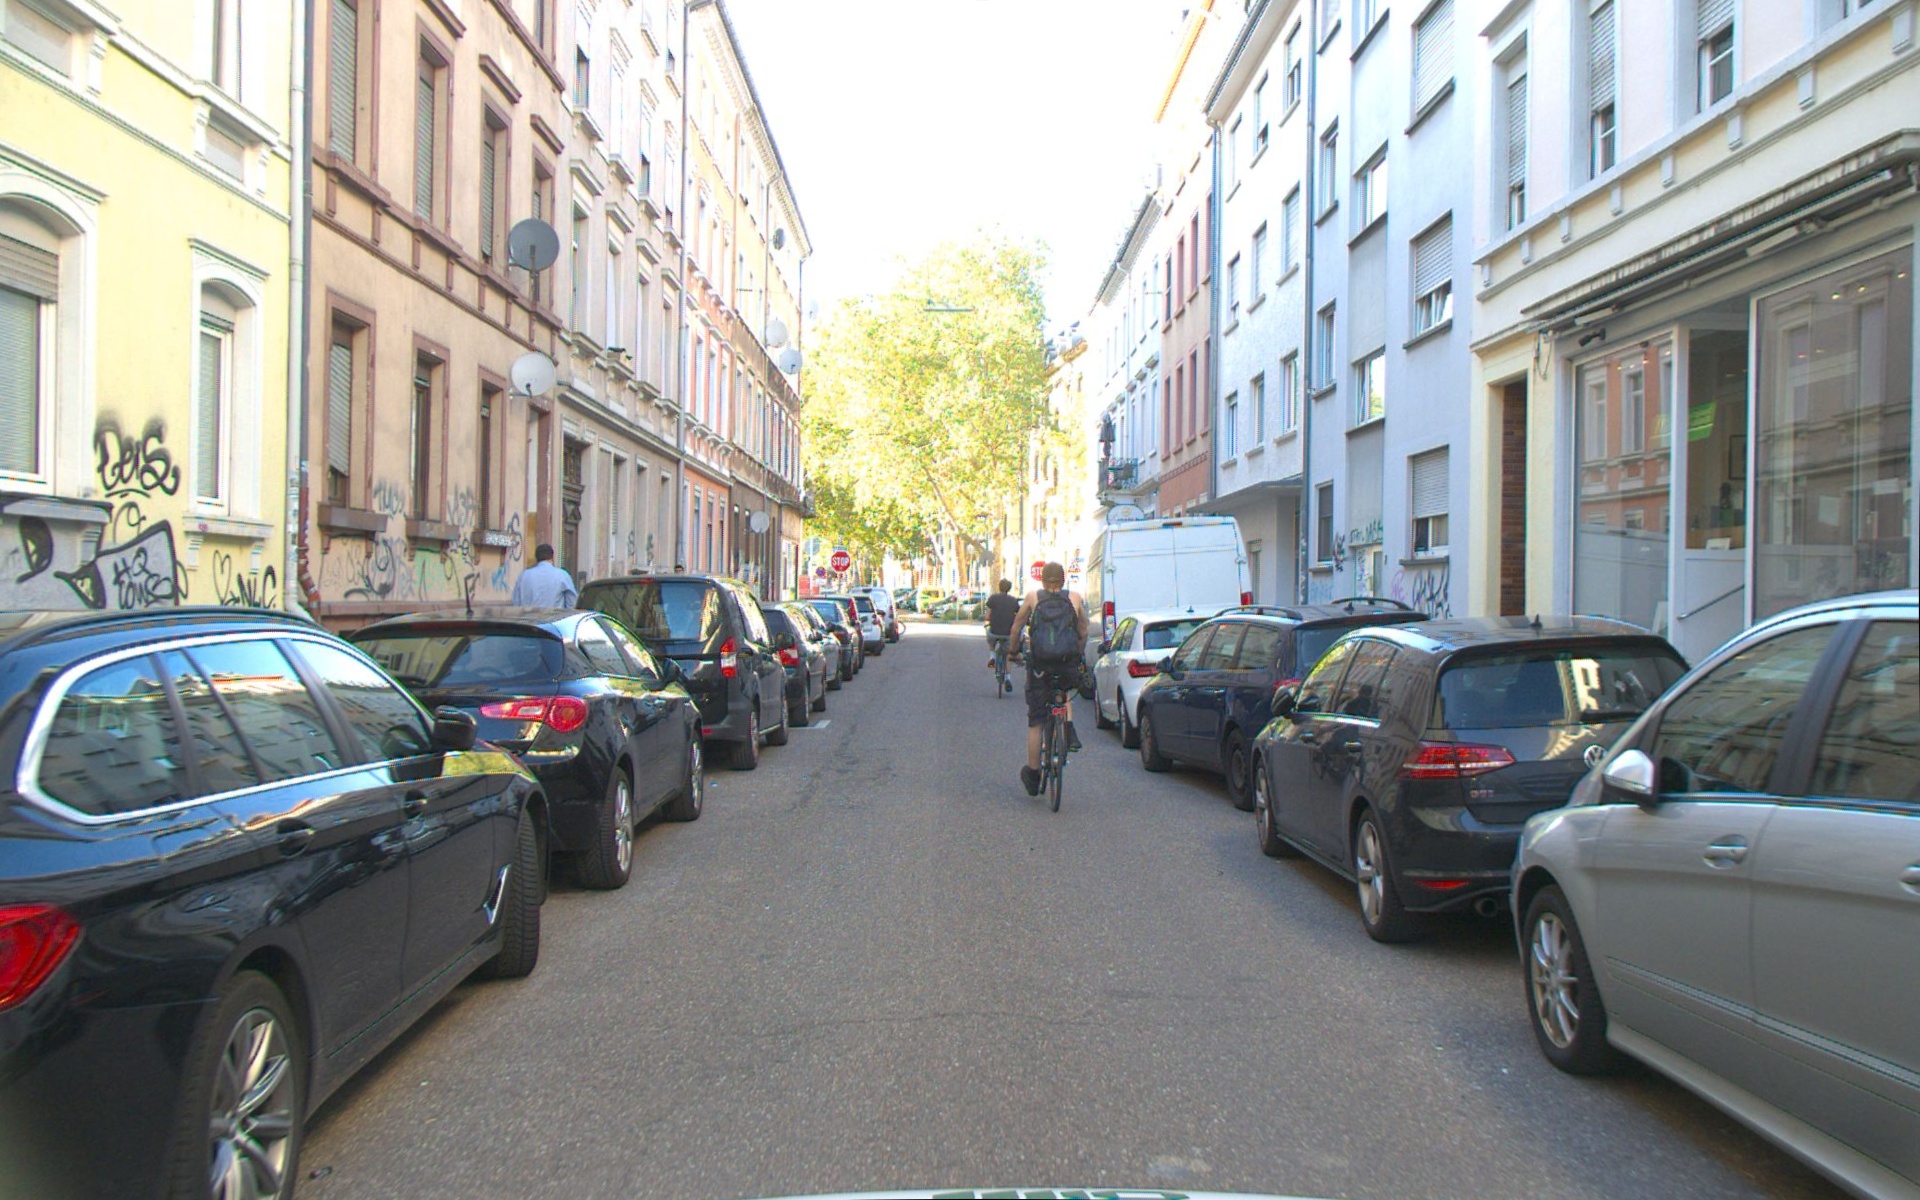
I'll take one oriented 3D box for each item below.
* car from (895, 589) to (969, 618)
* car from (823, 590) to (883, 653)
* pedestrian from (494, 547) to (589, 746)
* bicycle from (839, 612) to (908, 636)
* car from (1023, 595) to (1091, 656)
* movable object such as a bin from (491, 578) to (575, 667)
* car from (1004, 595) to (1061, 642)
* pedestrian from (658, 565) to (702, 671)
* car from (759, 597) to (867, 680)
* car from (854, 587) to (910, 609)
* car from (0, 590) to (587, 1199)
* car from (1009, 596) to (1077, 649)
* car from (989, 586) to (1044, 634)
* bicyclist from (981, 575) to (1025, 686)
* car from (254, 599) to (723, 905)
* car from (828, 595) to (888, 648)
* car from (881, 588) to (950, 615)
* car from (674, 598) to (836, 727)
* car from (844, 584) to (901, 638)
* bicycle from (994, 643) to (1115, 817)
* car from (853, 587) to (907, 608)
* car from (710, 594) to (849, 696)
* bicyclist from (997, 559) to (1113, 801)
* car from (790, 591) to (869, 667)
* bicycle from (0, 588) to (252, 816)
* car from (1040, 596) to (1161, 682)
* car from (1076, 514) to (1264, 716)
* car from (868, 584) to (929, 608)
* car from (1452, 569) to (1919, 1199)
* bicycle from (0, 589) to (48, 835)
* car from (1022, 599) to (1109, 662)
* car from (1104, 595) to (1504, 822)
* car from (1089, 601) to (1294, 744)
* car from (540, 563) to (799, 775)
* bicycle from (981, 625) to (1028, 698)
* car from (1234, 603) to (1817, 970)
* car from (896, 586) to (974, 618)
[{"bbox_3d":[-1.700,0.222,99.738,4.382,1.725,1.864,0,0,-5],"label":"car"},{"bbox_3d":[-2.792,0.539,43.261,1.514,1.578,3.462,0,0,-4],"label":"car"},{"bbox_3d":[-4.031,0.436,15.979,0.637,1.849,0.754,3,0,0],"label":"pedestrian"},{"bbox_3d":[-3.399,0.944,64.995,2.661,0.908,0.618,0,0,-3],"label":"bicycle"},{"bbox_3d":[2.525,0.642,43.703,1.559,1.518,3.875,0,0,0],"label":"car"},{"bbox_3d":[-5.423,0.285,21.029,0.773,1.042,0.757,5,0,1],"label":"movable object such as a bin"},{"bbox_3d":[2.440,0.599,56.267,1.619,1.557,3.573,0,0,-2],"label":"car"},{"bbox_3d":[-5.121,0.319,30.255,0.598,1.890,0.754,3,0,-1],"label":"pedestrian"},{"bbox_3d":[-2.683,0.666,30.927,1.671,1.438,4.301,0,0,-1],"label":"car"},{"bbox_3d":[-6.220,-0.125,131.894,4.382,1.725,1.864,0,0,-5],"label":"car"},{"bbox_3d":[-2.449,0.727,4.895,1.824,1.465,4.643,0,1,-3],"label":"car"},{"bbox_3d":[2.436,0.637,49.159,1.676,1.496,3.998,0,0,-2],"label":"car"},{"bbox_3d":[2.205,0.375,65.216,1.855,1.800,3.998,0,0,-3],"label":"car"},{"bbox_3d":[0.666,0.463,25.752,0.656,1.687,0.877,0,0,-1],"label":"bicyclist"},{"bbox_3d":[-2.553,0.733,9.955,1.701,1.452,4.000,0,0,-1],"label":"car"},{"bbox_3d":[-2.868,0.591,47.024,1.521,1.424,3.667,0,0,-1],"label":"car"},{"bbox_3d":[-2.878,0.088,106.259,4.382,1.725,1.864,0,0,-5],"label":"car"},{"bbox_3d":[-2.501,0.719,20.894,1.559,1.465,3.654,0,0,0],"label":"car"},{"bbox_3d":[-2.905,0.348,55.461,1.751,1.767,3.875,0,0,-1],"label":"car"},{"bbox_3d":[0.679,0.931,12.518,0.725,1.120,2.042,2,0,-1],"label":"bicycle"},{"bbox_3d":[-6.505,-0.219,134.261,4.382,1.725,1.864,0,0,-5],"label":"car"},{"bbox_3d":[-2.746,0.643,25.867,1.639,1.455,3.889,0,0,2],"label":"car"},{"bbox_3d":[0.695,0.574,12.434,0.725,1.708,1.116,2,0,-1],"label":"bicyclist"},{"bbox_3d":[-2.790,0.588,35.886,1.572,1.557,3.377,-1,0,-2],"label":"car"},{"bbox_3d":[-5.414,0.580,10.682,0.654,1.267,2.326,4,0,-1],"label":"bicycle"},{"bbox_3d":[2.554,0.675,30.906,1.696,1.496,4.018,0,0,-3],"label":"car"},{"bbox_3d":[2.921,0.181,24.382,2.159,2.595,6.037,0,0,1],"label":"car"},{"bbox_3d":[-4.468,-0.274,119.599,4.382,1.725,1.864,0,0,-5],"label":"car"},{"bbox_3d":[2.816,0.731,4.350,1.659,1.636,4.374,-1,0,-1],"label":"car"},{"bbox_3d":[-5.383,0.593,8.110,0.660,1.293,2.086,1,0,-1],"label":"bicycle"},{"bbox_3d":[2.406,0.676,38.609,1.624,1.362,3.998,0,0,-2],"label":"car"},{"bbox_3d":[2.713,0.772,14.274,1.778,1.503,4.597,-3,1,-10],"label":"car"},{"bbox_3d":[2.533,0.749,18.933,1.690,1.454,3.831,0,0,-2],"label":"car"},{"bbox_3d":[-2.637,0.572,15.913,1.764,1.728,3.999,-2,0,-1],"label":"car"},{"bbox_3d":[0.681,0.938,25.855,0.650,1.055,1.958,0,0,-1],"label":"bicycle"},{"bbox_3d":[2.744,0.791,9.101,1.710,1.511,4.242,0,0,-1],"label":"car"},{"bbox_3d":[-1.465,0.104,94.752,4.382,1.790,1.864,0,0,-5],"label":"car"}]
